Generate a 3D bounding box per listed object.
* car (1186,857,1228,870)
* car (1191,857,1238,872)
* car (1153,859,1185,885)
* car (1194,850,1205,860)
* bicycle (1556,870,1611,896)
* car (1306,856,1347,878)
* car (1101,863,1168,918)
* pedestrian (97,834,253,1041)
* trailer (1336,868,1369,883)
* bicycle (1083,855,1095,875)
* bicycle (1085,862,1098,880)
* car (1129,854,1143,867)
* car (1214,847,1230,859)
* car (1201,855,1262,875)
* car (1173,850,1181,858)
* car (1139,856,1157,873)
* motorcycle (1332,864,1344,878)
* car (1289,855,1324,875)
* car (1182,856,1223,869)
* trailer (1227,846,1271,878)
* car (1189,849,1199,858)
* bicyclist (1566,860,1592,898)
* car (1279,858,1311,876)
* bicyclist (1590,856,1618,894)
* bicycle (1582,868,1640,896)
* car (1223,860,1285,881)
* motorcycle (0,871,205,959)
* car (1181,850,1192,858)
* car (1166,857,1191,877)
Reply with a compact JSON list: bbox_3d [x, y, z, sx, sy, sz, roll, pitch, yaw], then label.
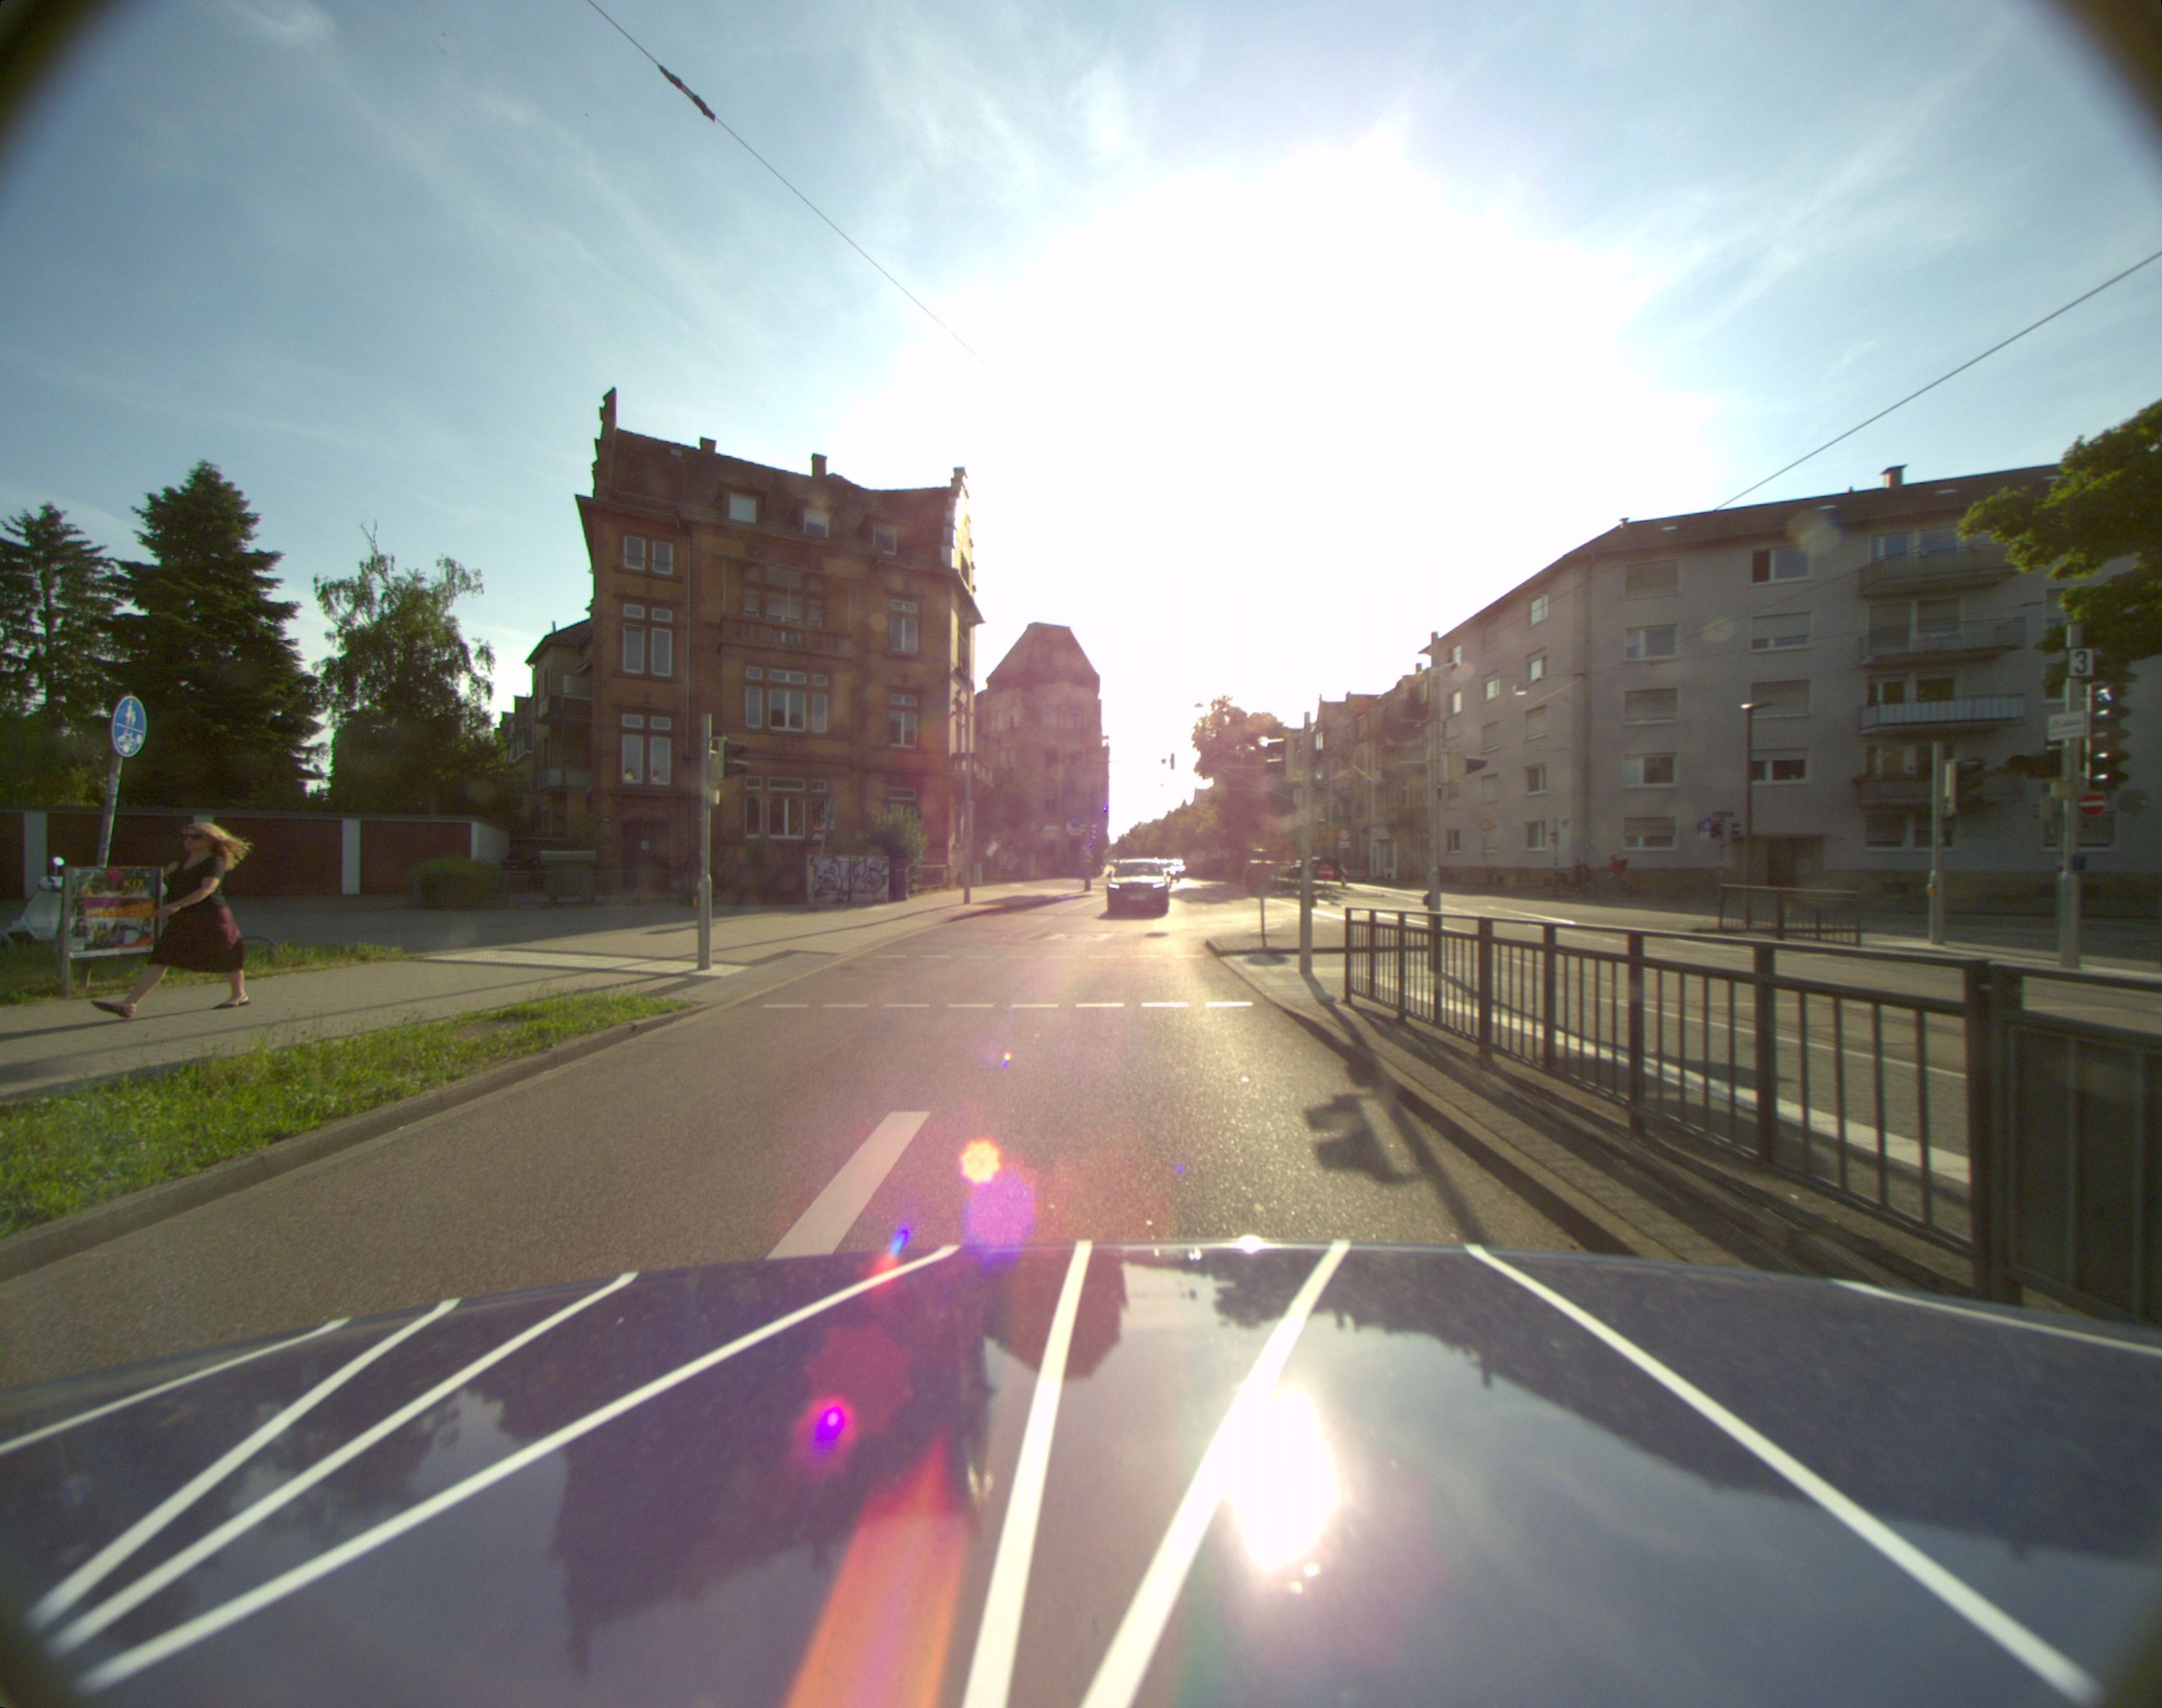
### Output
[{"bbox_3d":[13.714,1.064,82.662,4.259,1.414,1.685,-1,0,43],"label":"car"},{"bbox_3d":[13.258,1.040,75.670,4.294,1.413,1.963,-1,0,43],"label":"car"},{"bbox_3d":[5.768,1.152,49.994,1.997,1.564,4.002,-1,0,7],"label":"car"},{"bbox_3d":[25.013,0.226,160.755,1.998,2.002,4.002,-1,0,5],"label":"car"},{"bbox_3d":[21.819,1.259,33.041,1.912,1.104,0.736,0,-1,23],"label":"bicycle"},{"bbox_3d":[20.338,1.025,63.190,2.170,1.739,4.720,-1,0,4],"label":"car"},{"bbox_3d":[1.607,1.011,22.821,1.839,1.472,4.001,0,0,4],"label":"car"},{"bbox_3d":[-7.891,0.698,6.638,0.616,1.682,0.549,5,1,6],"label":"pedestrian"},{"bbox_3d":[20.190,1.603,56.631,1.444,0.891,2.880,-5,-1,2],"label":"trailer"},{"bbox_3d":[0.526,0.695,49.512,0.574,1.290,0.689,-1,0,16],"label":"bicycle"},{"bbox_3d":[0.694,1.121,50.101,0.484,1.183,1.341,-1,0,17],"label":"bicycle"},{"bbox_3d":[8.600,0.960,118.990,1.998,2.002,4.000,0,0,2],"label":"car"},{"bbox_3d":[24.064,-0.181,129.723,1.998,2.002,4.001,-1,0,2],"label":"car"},{"bbox_3d":[12.970,0.953,65.733,4.704,1.680,2.177,0,0,44],"label":"car"},{"bbox_3d":[26.031,0.086,206.173,1.998,2.002,4.001,-1,0,1],"label":"car"},{"bbox_3d":[8.211,1.305,94.011,1.998,2.002,4.000,0,0,2],"label":"car"},{"bbox_3d":[20.012,1.316,59.109,0.636,1.073,1.737,-1,0,27],"label":"motorcycle"},{"bbox_3d":[20.568,0.981,69.432,2.170,1.739,4.612,-1,0,4],"label":"car"},{"bbox_3d":[14.324,1.004,89.805,4.259,1.413,2.177,-1,0,43],"label":"car"},{"bbox_3d":[12.767,0.606,57.741,2.858,2.378,1.726,-1,0,34],"label":"trailer"},{"bbox_3d":[25.595,-0.046,171.807,1.998,2.002,4.002,-1,0,5],"label":"car"},{"bbox_3d":[21.682,1.072,33.098,0.771,1.633,0.796,1,0,22],"label":"bicyclist"},{"bbox_3d":[21.053,1.243,75.006,2.170,1.739,4.612,-1,0,4],"label":"car"},{"bbox_3d":[22.879,0.922,33.240,0.851,1.632,0.815,-1,0,22],"label":"bicyclist"},{"bbox_3d":[23.126,1.204,33.184,1.976,1.196,0.736,-1,0,23],"label":"bicycle"},{"bbox_3d":[12.355,1.164,54.423,3.941,1.352,1.676,0,0,38],"label":"car"},{"bbox_3d":[-13.722,0.829,10.624,2.002,1.153,0.708,-1,0,-4],"label":"motorcycle"},{"bbox_3d":[25.718,0.056,185.212,1.998,2.002,4.001,-1,0,1],"label":"car"},{"bbox_3d":[8.081,1.084,63.346,1.997,1.564,4.002,-1,0,7],"label":"car"}]
